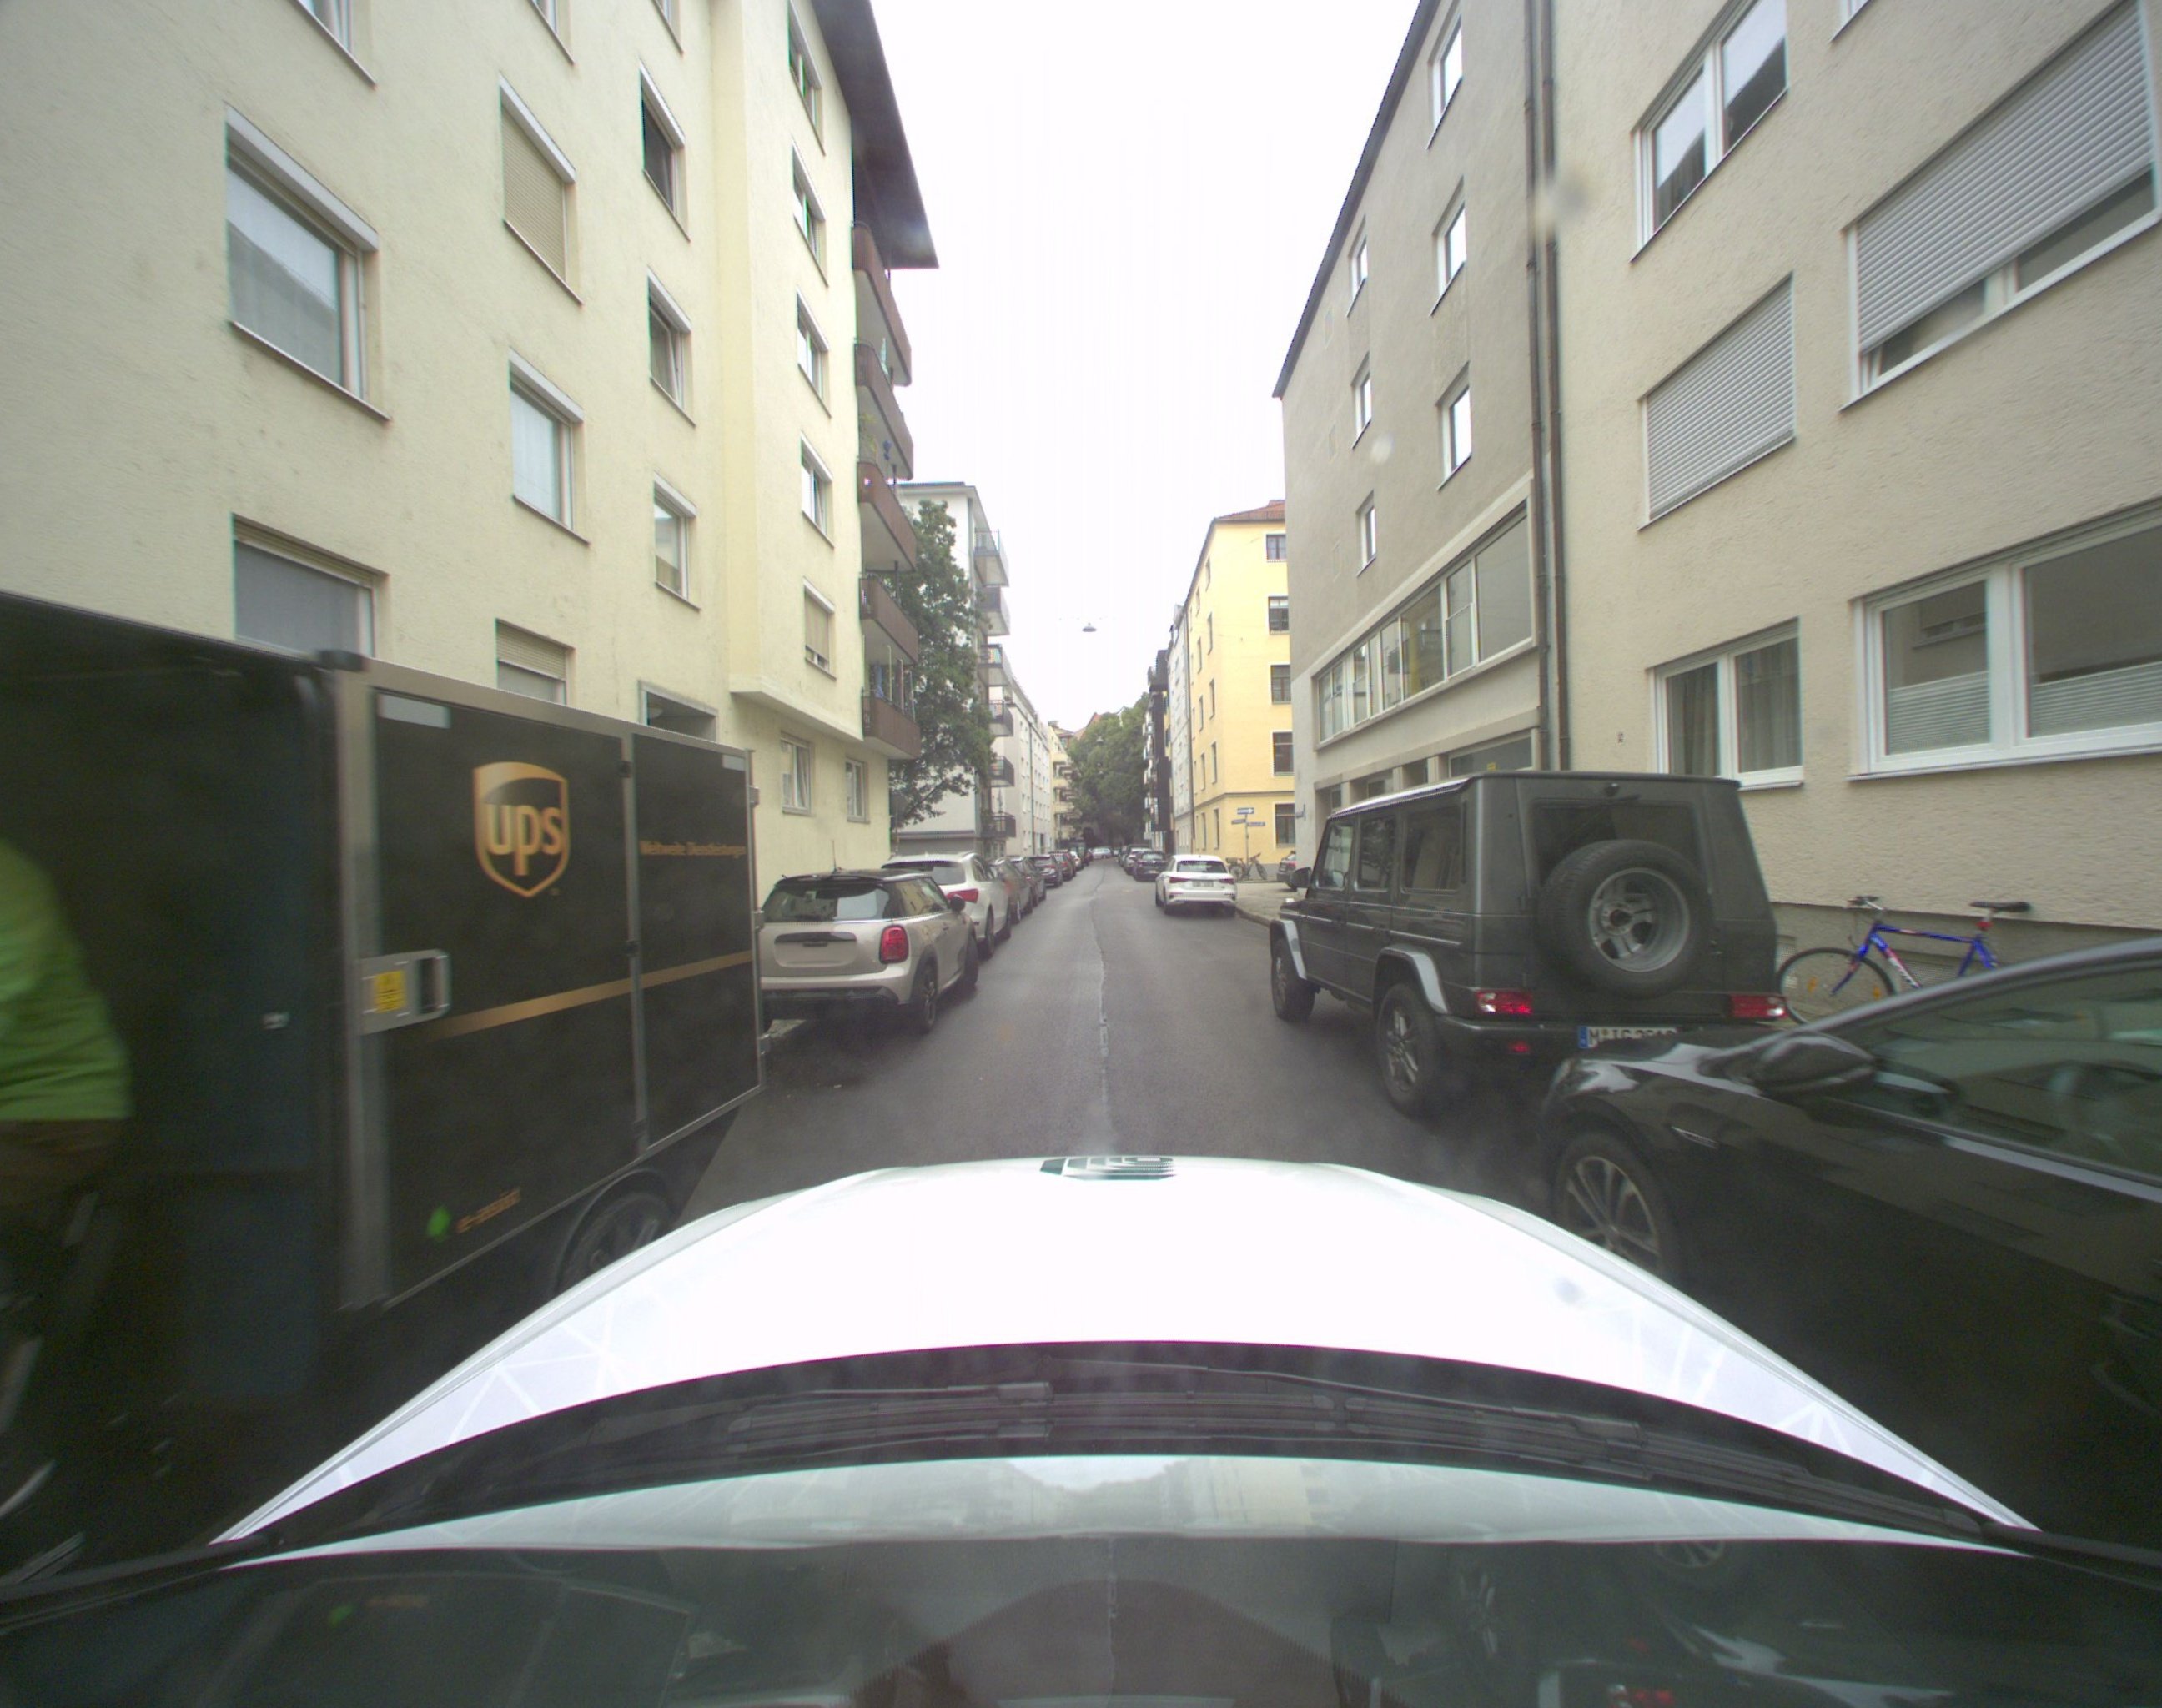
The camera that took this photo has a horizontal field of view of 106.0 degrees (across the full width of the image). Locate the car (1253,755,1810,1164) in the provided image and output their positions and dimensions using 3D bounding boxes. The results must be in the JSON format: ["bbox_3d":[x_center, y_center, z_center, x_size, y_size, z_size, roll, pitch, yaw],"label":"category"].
[{"bbox_3d":[2.656,0.502,6.127,1.745,1.975,4.341,1,0,-1],"label":"car"}]

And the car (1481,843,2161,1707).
[{"bbox_3d":[2.476,0.716,1.135,1.706,1.486,4.242,-1,0,-1],"label":"car"}]

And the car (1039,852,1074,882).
[{"bbox_3d":[-1.303,0.675,44.018,1.687,1.442,3.977,-3,0,0],"label":"car"}]

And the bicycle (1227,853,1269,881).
[{"bbox_3d":[7.257,0.556,35.466,1.707,1.139,0.374,-3,2,0],"label":"bicycle"}]

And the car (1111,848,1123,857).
[{"bbox_3d":[5.692,-0.221,128.165,1.636,1.383,3.746,-4,0,1],"label":"car"}]

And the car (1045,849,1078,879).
[{"bbox_3d":[-1.158,0.574,49.845,1.770,1.629,4.416,-3,0,1],"label":"car"}]

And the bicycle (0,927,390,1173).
[{"bbox_3d":[-5.299,1.048,4.908,0.728,1.027,1.812,-1,0,-1],"label":"bicycle"}]

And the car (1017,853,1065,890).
[{"bbox_3d":[-1.715,0.721,36.180,1.686,1.442,3.944,-3,0,2],"label":"car"}]

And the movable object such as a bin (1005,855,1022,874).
[{"bbox_3d":[-4.983,0.779,60.287,1.043,1.336,0.994,-4,0,4],"label":"movable object such as a bin"}]

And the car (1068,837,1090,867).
[{"bbox_3d":[-0.202,-0.173,82.675,1.930,2.801,4.533,-4,0,1],"label":"car"}]

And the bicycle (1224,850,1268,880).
[{"bbox_3d":[7.273,0.485,36.000,1.802,1.174,0.505,-3,2,-1],"label":"bicycle"}]

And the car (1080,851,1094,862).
[{"bbox_3d":[0.746,0.305,105.207,1.636,1.383,3.483,-4,0,1],"label":"car"}]

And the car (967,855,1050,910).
[{"bbox_3d":[-2.072,0.785,24.509,1.849,1.408,4.385,-3,0,2],"label":"car"}]

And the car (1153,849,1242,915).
[{"bbox_3d":[2.909,0.653,21.090,1.812,1.408,3.953,-1,2,1],"label":"car"}]

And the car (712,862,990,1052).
[{"bbox_3d":[-2.071,0.851,8.464,1.646,1.435,3.804,-3,0,2],"label":"car"}]

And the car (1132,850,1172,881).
[{"bbox_3d":[3.538,0.534,41.138,1.744,1.469,4.344,1,0,1],"label":"car"}]

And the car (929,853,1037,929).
[{"bbox_3d":[-2.166,0.776,19.294,1.759,1.483,4.427,-3,0,3],"label":"car"}]

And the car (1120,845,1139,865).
[{"bbox_3d":[5.076,0.065,85.517,1.823,1.999,4.416,1,0,1],"label":"car"}]

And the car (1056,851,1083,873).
[{"bbox_3d":[-0.862,0.571,62.715,1.770,1.487,4.522,-4,0,2],"label":"car"}]

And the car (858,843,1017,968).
[{"bbox_3d":[-2.188,0.736,13.648,1.760,1.675,4.367,-3,0,1],"label":"car"}]

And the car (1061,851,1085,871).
[{"bbox_3d":[-0.619,0.572,68.088,1.770,1.452,4.047,-4,0,1],"label":"car"}]

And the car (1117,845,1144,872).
[{"bbox_3d":[3.550,0.297,58.680,1.822,1.910,4.417,0,0,2],"label":"car"}]

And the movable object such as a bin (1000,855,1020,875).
[{"bbox_3d":[-5.166,0.798,59.212,1.161,1.336,1.026,-4,0,4],"label":"movable object such as a bin"}]

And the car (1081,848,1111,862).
[{"bbox_3d":[2.032,0.145,111.249,3.873,1.584,1.647,-4,0,0],"label":"car"}]

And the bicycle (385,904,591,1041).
[{"bbox_3d":[-5.373,1.019,7.539,0.511,0.999,1.860,1,-1,0],"label":"bicycle"}]

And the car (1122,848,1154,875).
[{"bbox_3d":[3.537,0.437,51.148,1.676,1.567,4.416,1,0,1],"label":"car"}]

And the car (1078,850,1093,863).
[{"bbox_3d":[0.568,0.309,101.339,1.636,1.383,3.483,-4,0,1],"label":"car"}]

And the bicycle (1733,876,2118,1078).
[{"bbox_3d":[5.438,0.710,5.451,0.642,1.028,1.797,-5,0,1],"label":"bicycle"}]

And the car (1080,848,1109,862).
[{"bbox_3d":[1.918,0.094,113.483,3.873,1.584,1.647,-4,0,0],"label":"car"}]

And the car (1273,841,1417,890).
[{"bbox_3d":[8.785,0.369,27.355,4.193,1.399,1.999,-2,2,-2],"label":"car"}]

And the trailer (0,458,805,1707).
[{"bbox_3d":[-2.007,0.560,1.916,1.349,2.116,3.321,-1,-1,4],"label":"trailer"}]
